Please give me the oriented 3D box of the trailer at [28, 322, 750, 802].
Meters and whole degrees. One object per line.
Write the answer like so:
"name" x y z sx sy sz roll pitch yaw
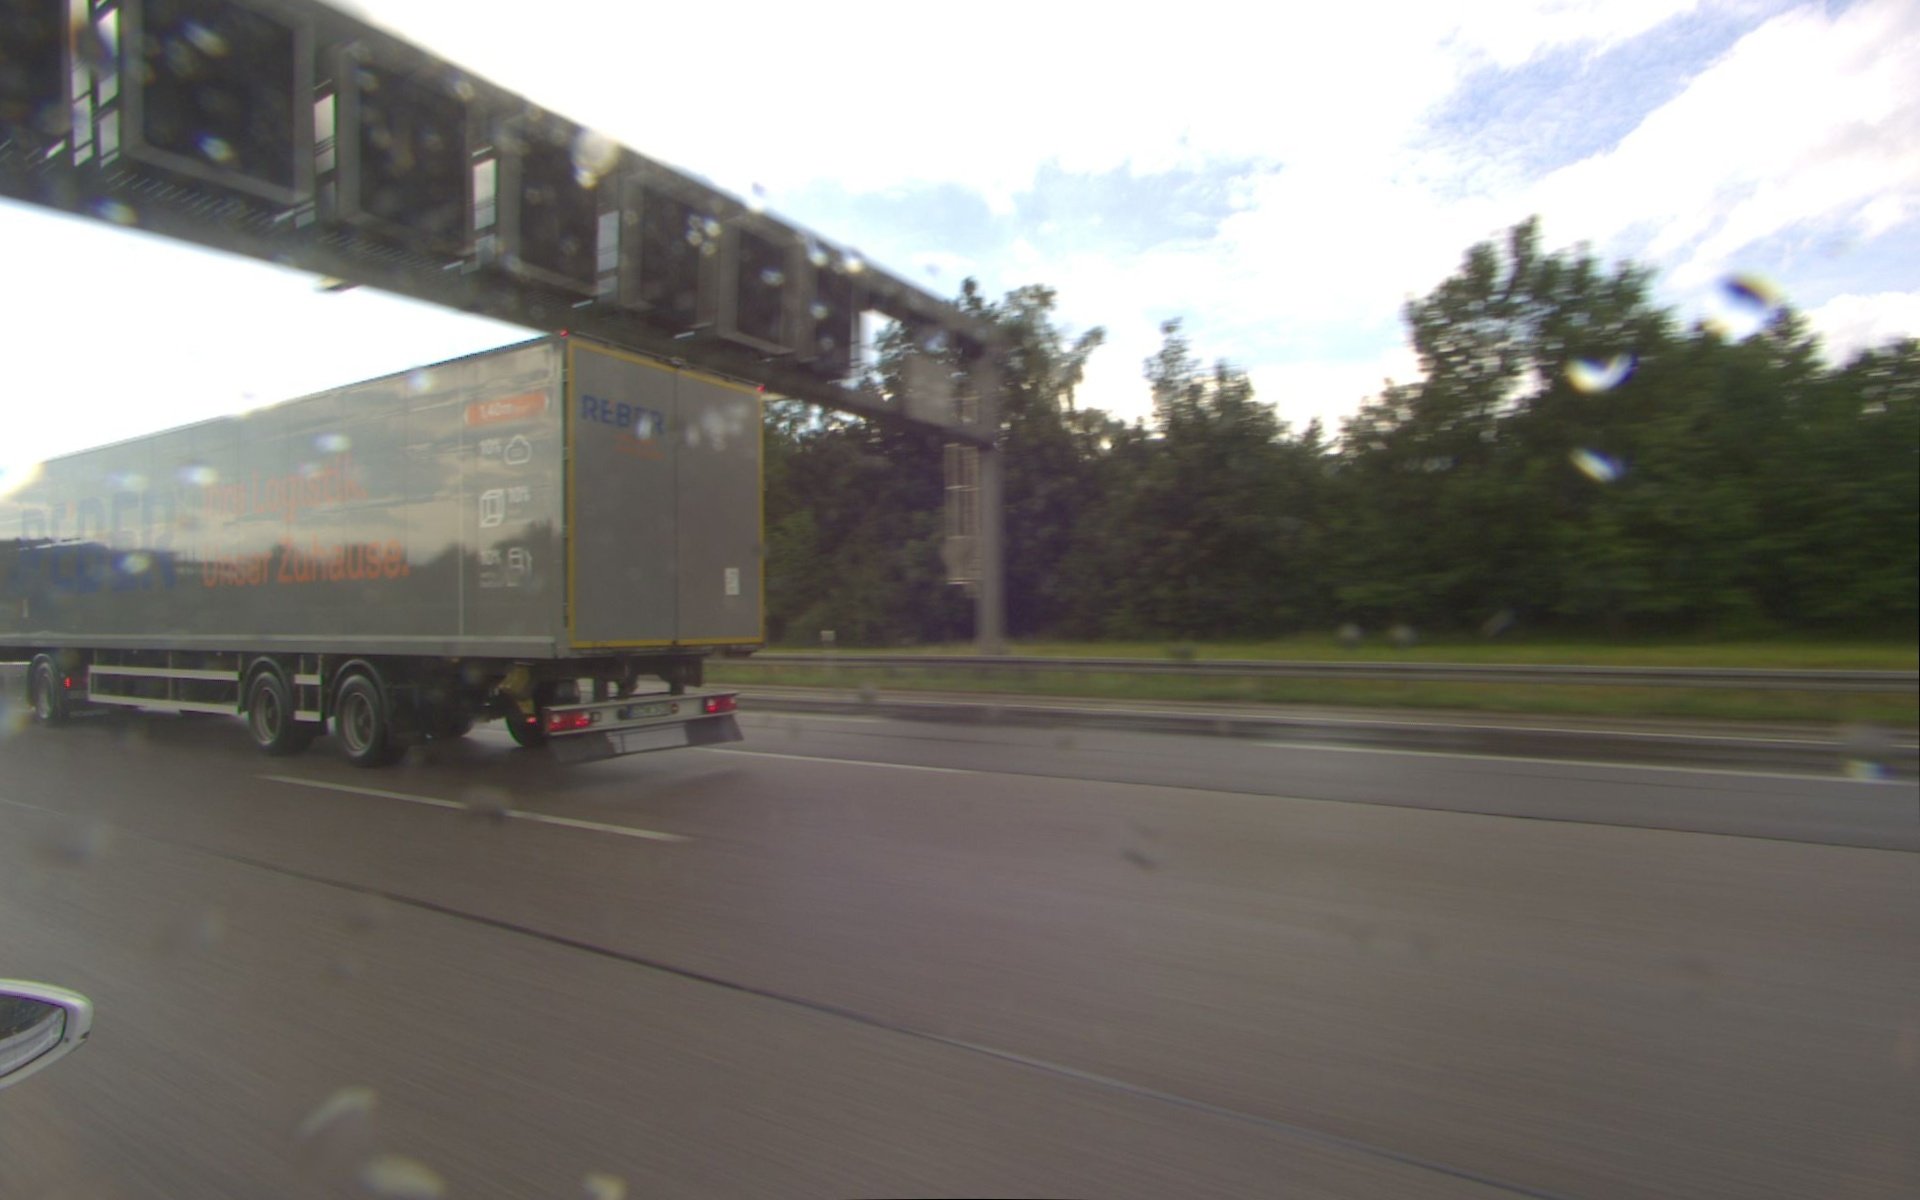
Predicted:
"trailer" -8.361 -0.203 13.019 13.221 4.053 2.319 -1 -1 33

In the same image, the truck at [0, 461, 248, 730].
"truck" -14.594 -0.013 16.998 5.315 3.918 2.289 -1 -1 33
